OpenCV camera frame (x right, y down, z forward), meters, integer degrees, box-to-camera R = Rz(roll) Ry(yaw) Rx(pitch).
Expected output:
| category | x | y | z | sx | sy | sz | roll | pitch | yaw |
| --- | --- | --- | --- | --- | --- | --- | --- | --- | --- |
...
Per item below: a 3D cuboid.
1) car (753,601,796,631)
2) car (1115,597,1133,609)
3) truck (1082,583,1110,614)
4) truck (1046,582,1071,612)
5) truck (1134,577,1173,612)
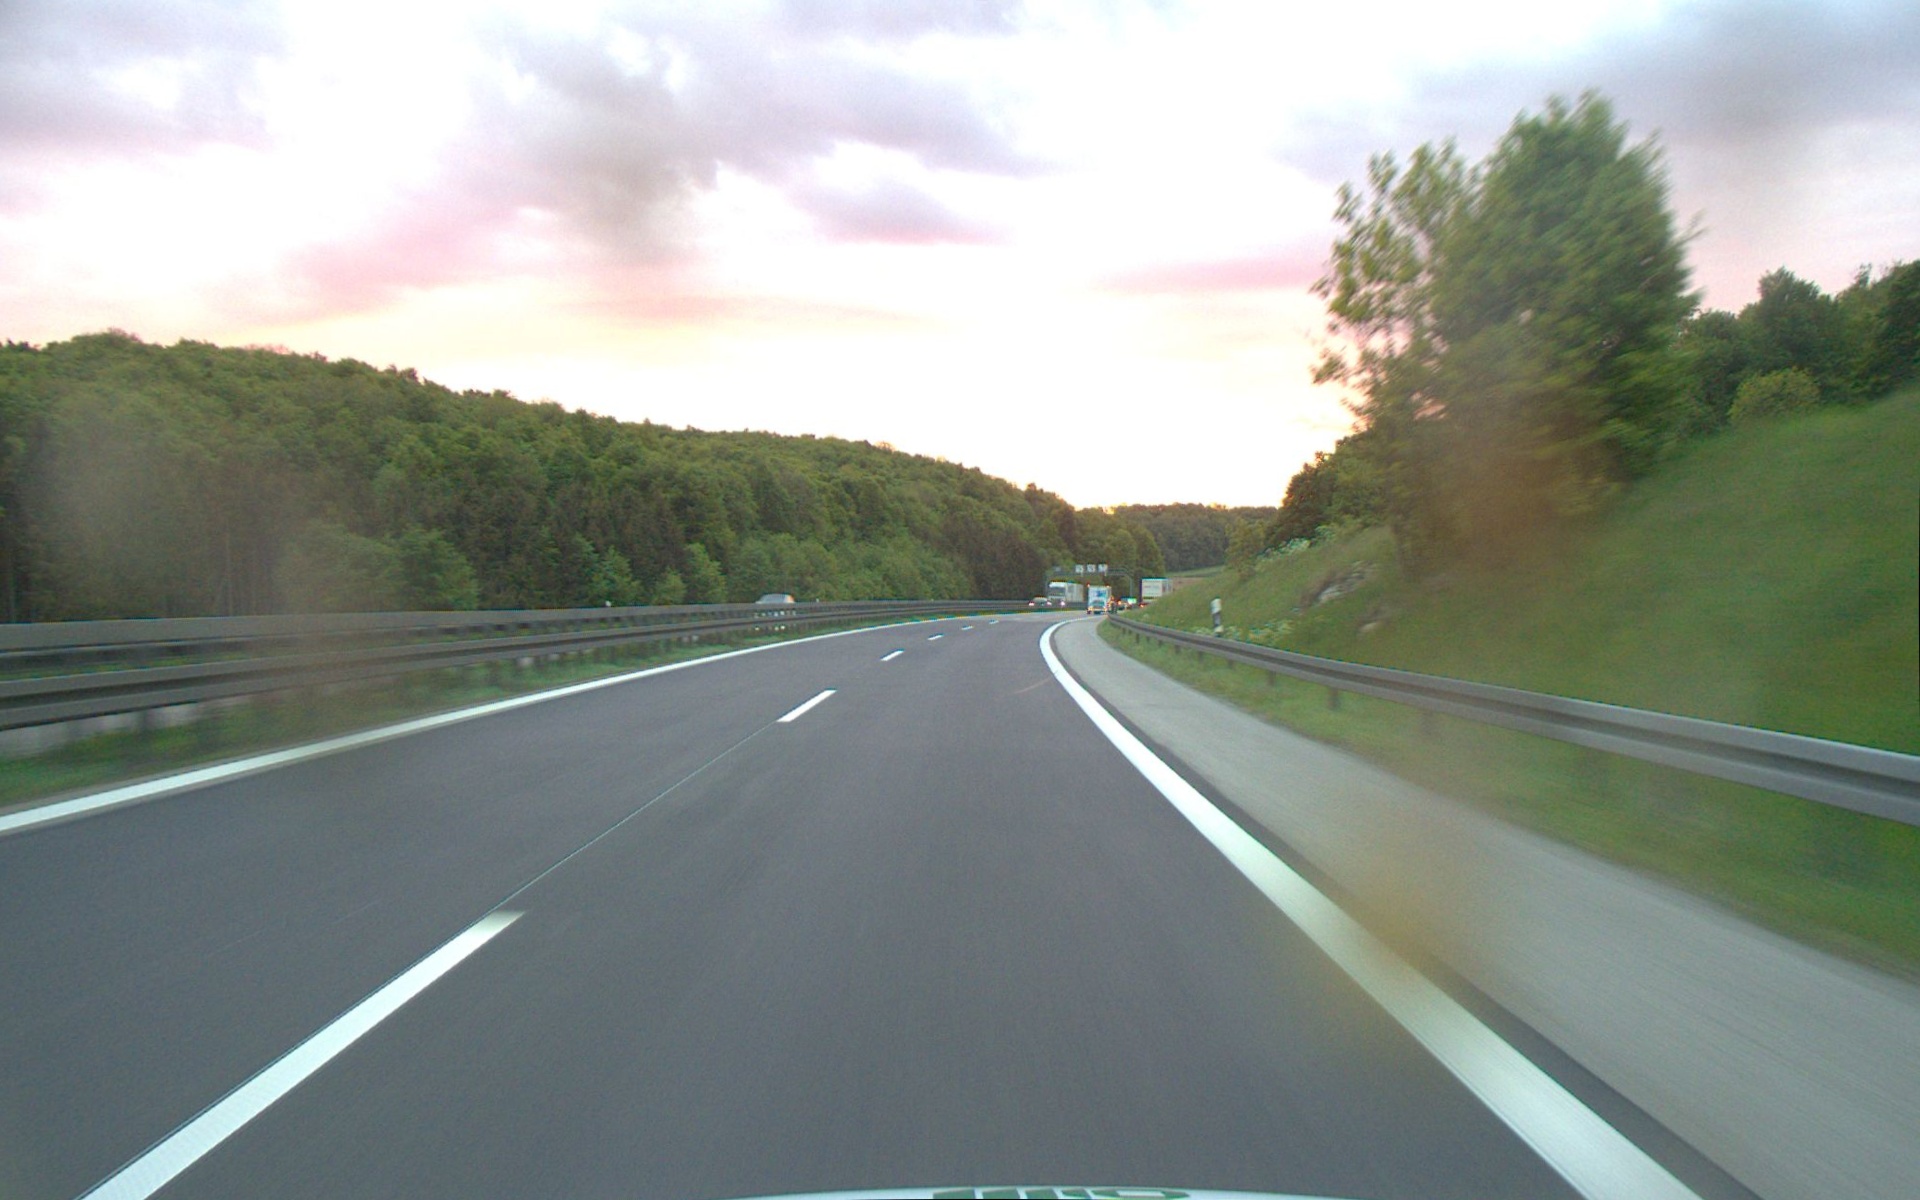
| category | x | y | z | sx | sy | sz | roll | pitch | yaw |
| --- | --- | --- | --- | --- | --- | --- | --- | --- | --- |
| car | -10.808 | 0.917 | 96.619 | 1.716 | 1.668 | 4.480 | -1 | 0 | 4 |
| car | 21.542 | 0.397 | 217.202 | 1.951 | 1.544 | 4.004 | -1 | 0 | 11 |
| truck | 12.941 | -0.129 | 157.210 | 2.227 | 2.711 | 5.241 | -2 | 2 | 8 |
| truck | 14.563 | -0.462 | 243.626 | 2.803 | 4.356 | 10.074 | 0 | 0 | 9 |
| truck | 25.310 | -0.816 | 215.443 | 3.873 | 4.362 | 14.336 | -1 | 0 | 11 |
